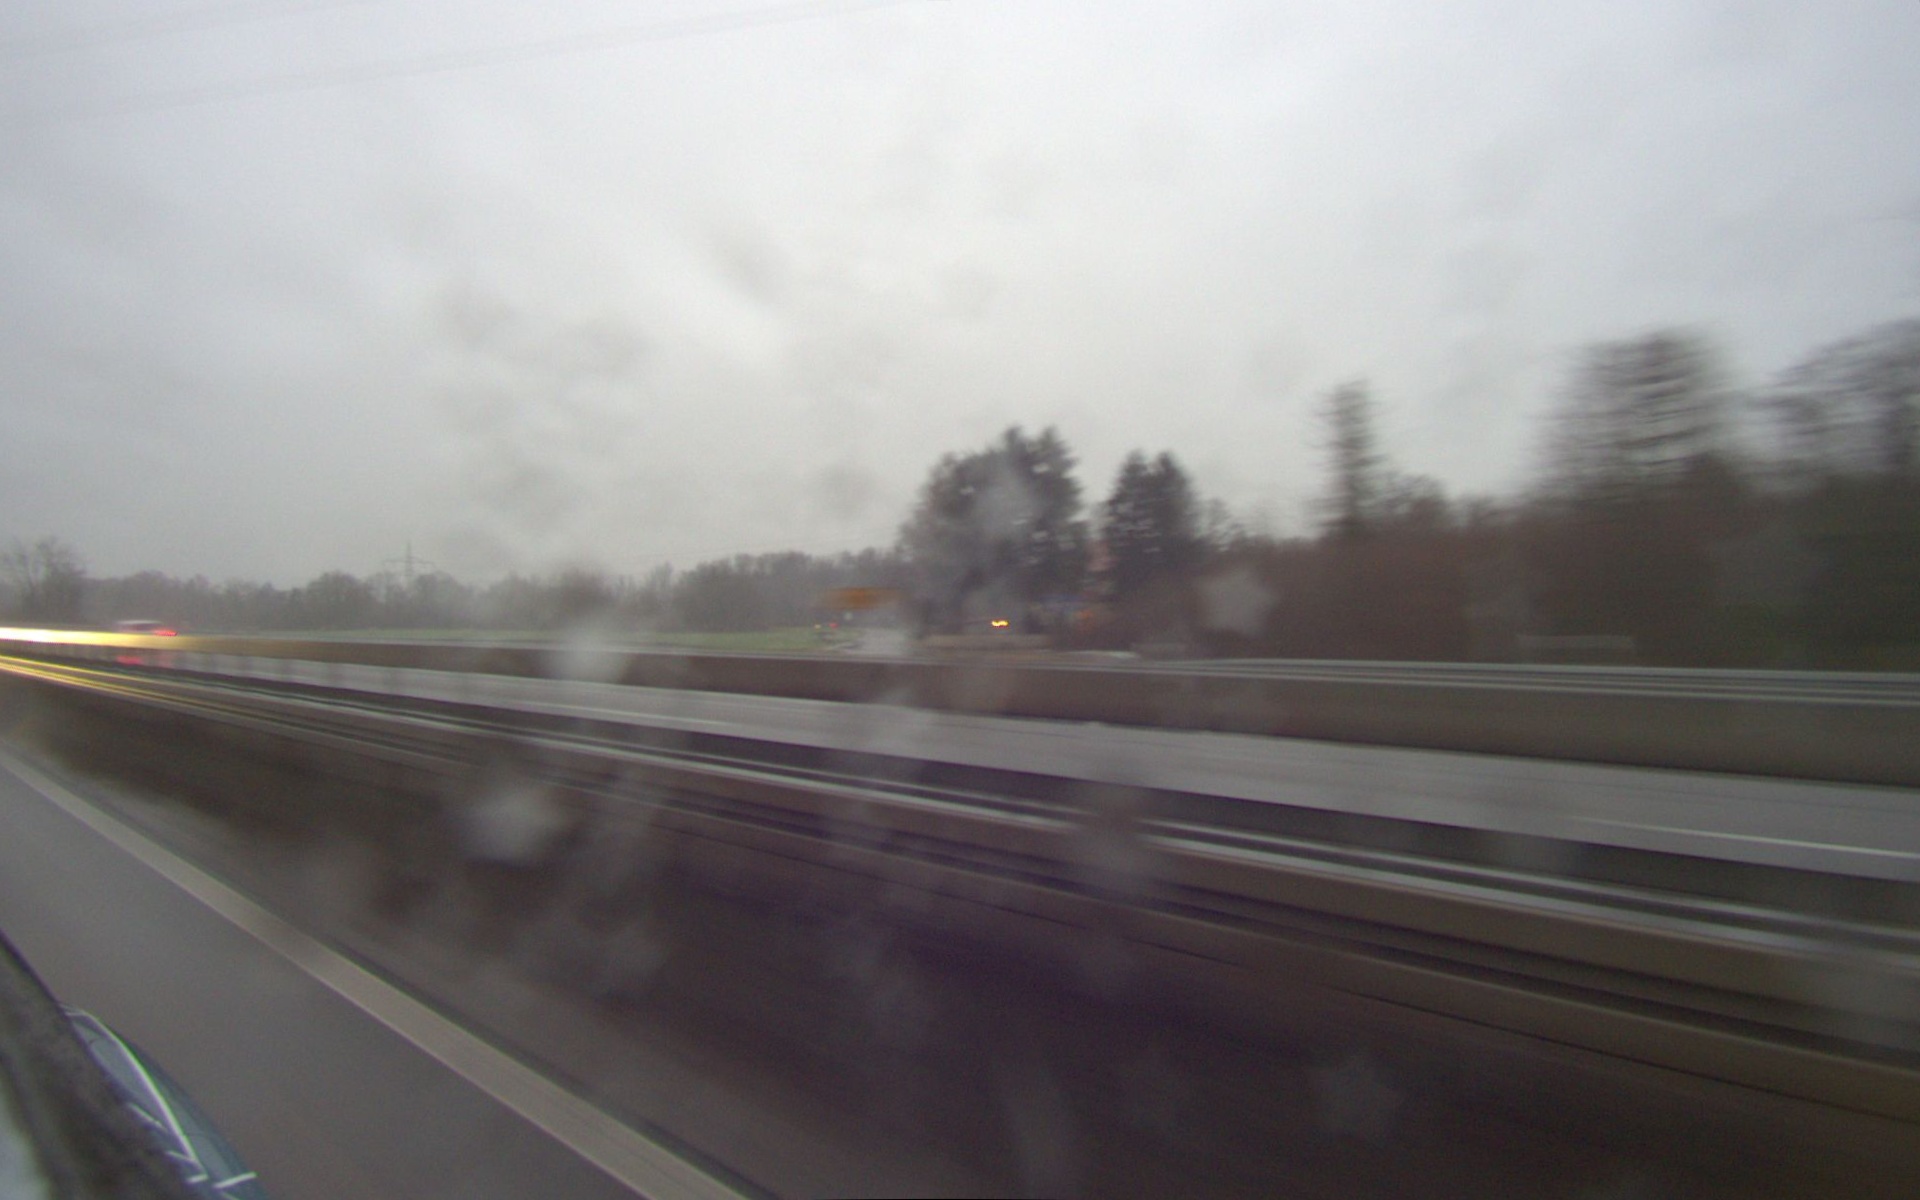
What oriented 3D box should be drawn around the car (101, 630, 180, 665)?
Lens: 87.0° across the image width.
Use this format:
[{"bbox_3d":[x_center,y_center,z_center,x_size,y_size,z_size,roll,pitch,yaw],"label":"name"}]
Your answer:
[{"bbox_3d":[-36.129,2.071,44.604,4.546,1.450,1.906,-2,-1,40],"label":"car"}]
